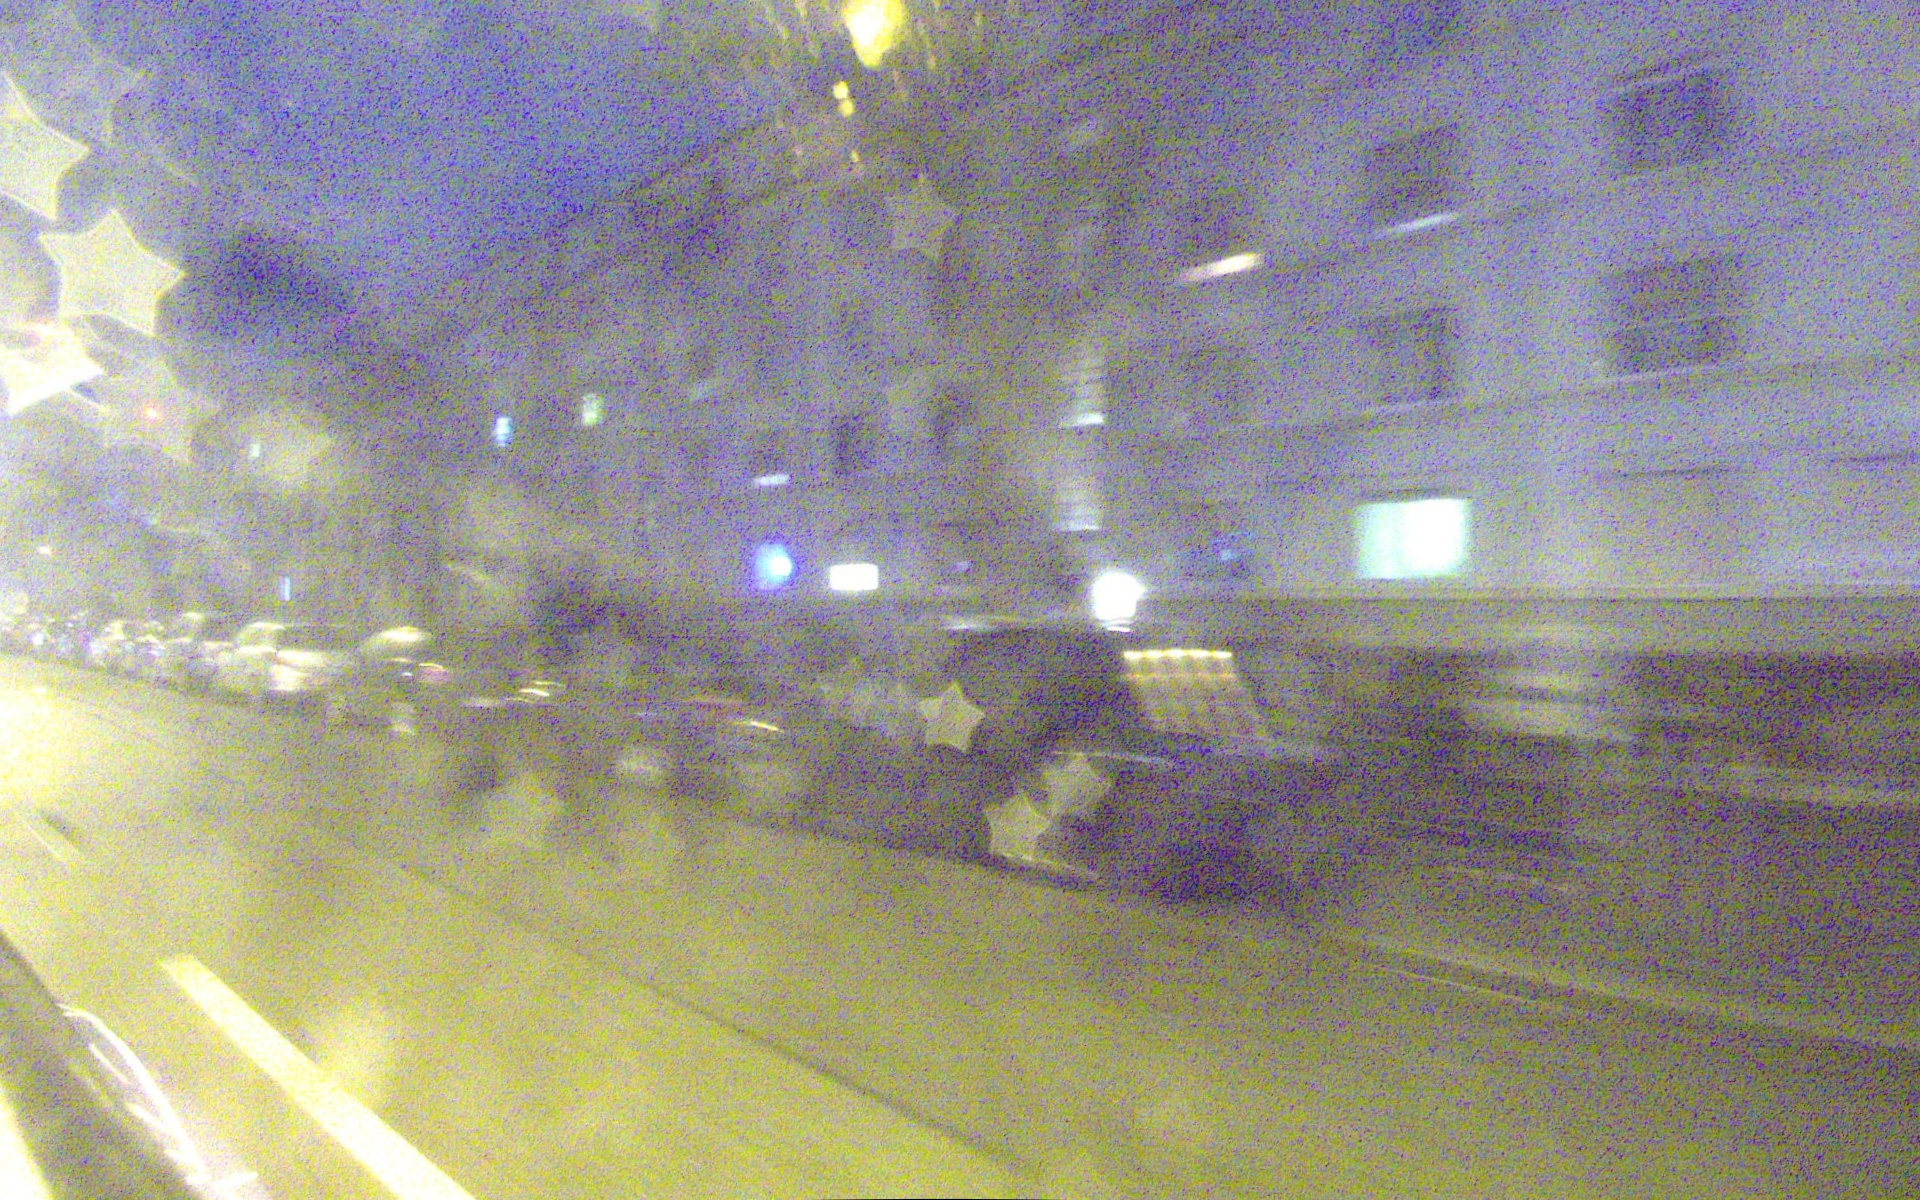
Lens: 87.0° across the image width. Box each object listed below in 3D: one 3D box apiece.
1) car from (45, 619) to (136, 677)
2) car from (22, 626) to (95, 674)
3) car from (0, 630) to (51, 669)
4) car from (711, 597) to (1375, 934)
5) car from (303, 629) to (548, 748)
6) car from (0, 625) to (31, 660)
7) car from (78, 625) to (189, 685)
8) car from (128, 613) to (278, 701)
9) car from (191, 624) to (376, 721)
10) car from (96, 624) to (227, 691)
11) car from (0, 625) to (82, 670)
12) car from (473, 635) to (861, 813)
[{"bbox_3d":[-26.505,1.447,30.817,3.371,1.632,1.459,-1,-6,40],"label":"car"},{"bbox_3d":[-30.109,1.668,33.776,3.374,1.471,1.416,-2,-6,43],"label":"car"},{"bbox_3d":[-40.376,2.100,43.191,4.387,1.551,1.649,-1,-6,40],"label":"car"},{"bbox_3d":[0.294,0.882,6.840,4.378,1.576,1.581,-2,-6,42],"label":"car"},{"bbox_3d":[-7.396,1.144,13.839,4.066,1.384,1.581,-2,-6,42],"label":"car"},{"bbox_3d":[-44.483,1.940,46.871,4.389,1.551,1.648,-2,-6,42],"label":"car"},{"bbox_3d":[-22.513,1.468,27.490,4.934,1.468,1.619,-2,-6,44],"label":"car"},{"bbox_3d":[-15.746,1.167,20.960,4.257,1.617,1.581,-2,-6,42],"label":"car"},{"bbox_3d":[-11.888,1.229,17.676,4.273,1.498,1.581,-2,-6,42],"label":"car"},{"bbox_3d":[-19.071,1.345,24.117,4.001,1.442,1.582,-1,-6,40],"label":"car"},{"bbox_3d":[-36.426,1.852,39.900,4.383,1.610,1.730,-1,-5,37],"label":"car"},{"bbox_3d":[-3.066,1.090,10.051,4.352,1.384,1.581,-2,-6,42],"label":"car"}]
